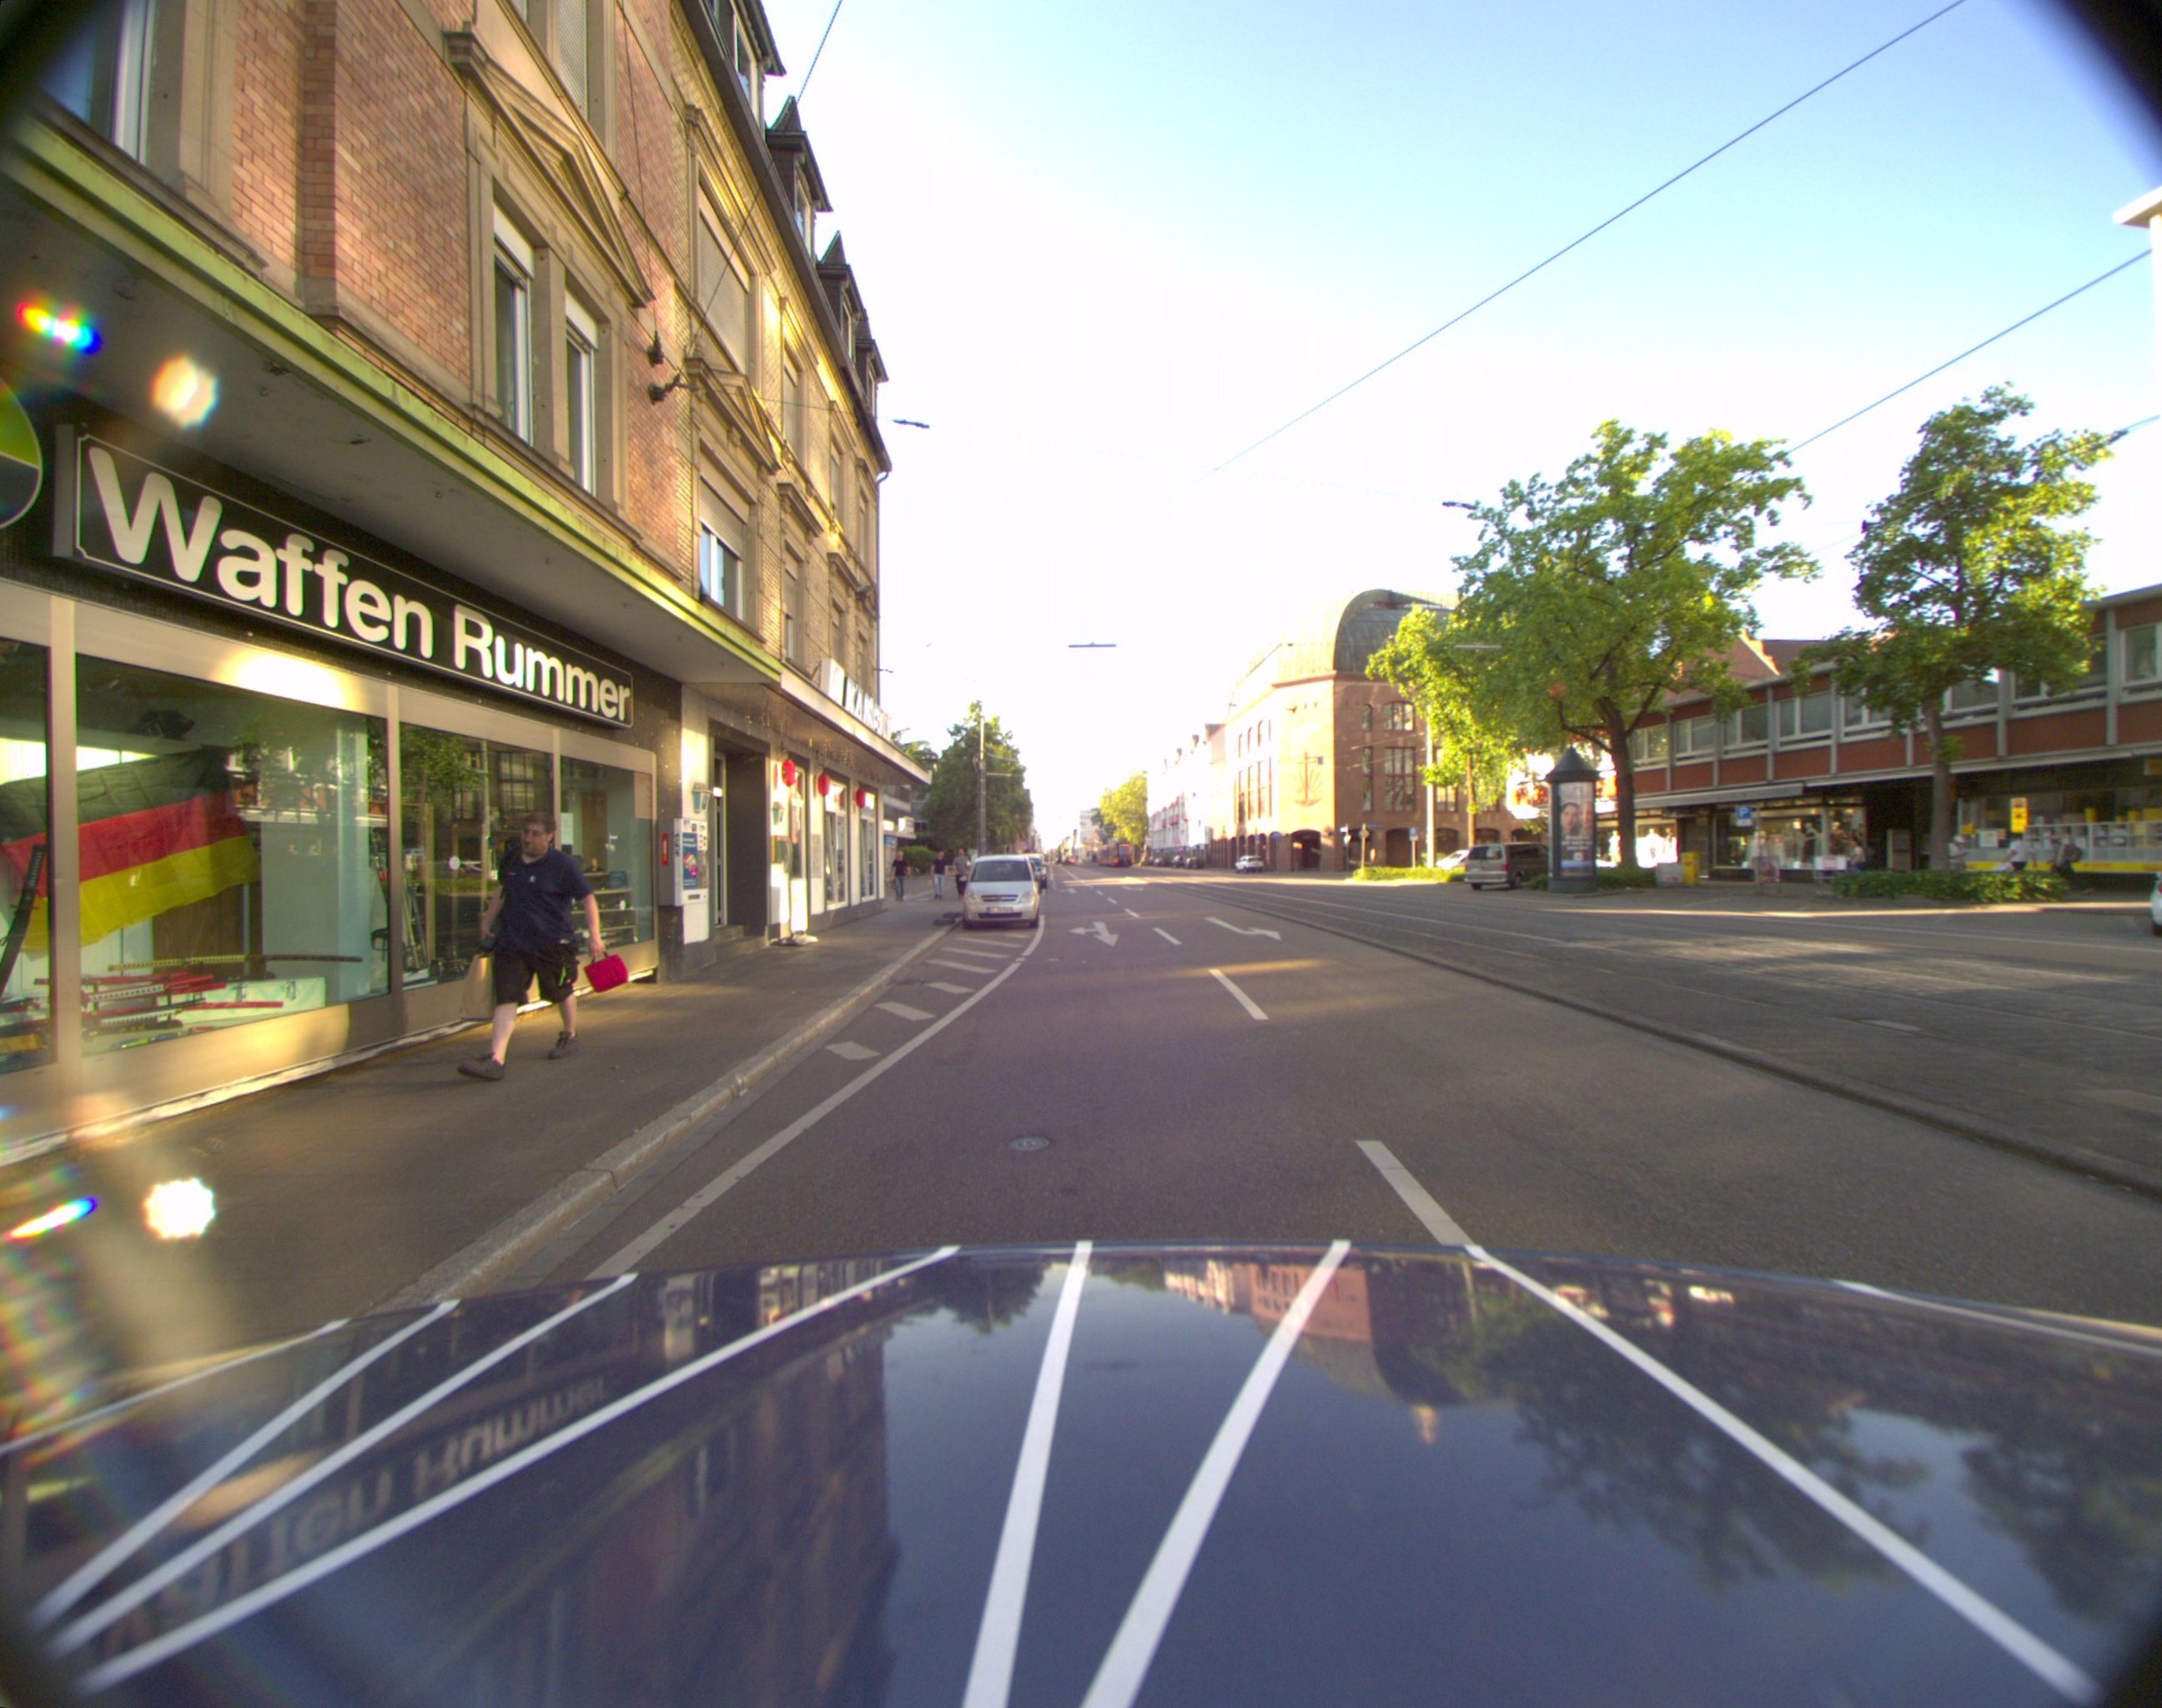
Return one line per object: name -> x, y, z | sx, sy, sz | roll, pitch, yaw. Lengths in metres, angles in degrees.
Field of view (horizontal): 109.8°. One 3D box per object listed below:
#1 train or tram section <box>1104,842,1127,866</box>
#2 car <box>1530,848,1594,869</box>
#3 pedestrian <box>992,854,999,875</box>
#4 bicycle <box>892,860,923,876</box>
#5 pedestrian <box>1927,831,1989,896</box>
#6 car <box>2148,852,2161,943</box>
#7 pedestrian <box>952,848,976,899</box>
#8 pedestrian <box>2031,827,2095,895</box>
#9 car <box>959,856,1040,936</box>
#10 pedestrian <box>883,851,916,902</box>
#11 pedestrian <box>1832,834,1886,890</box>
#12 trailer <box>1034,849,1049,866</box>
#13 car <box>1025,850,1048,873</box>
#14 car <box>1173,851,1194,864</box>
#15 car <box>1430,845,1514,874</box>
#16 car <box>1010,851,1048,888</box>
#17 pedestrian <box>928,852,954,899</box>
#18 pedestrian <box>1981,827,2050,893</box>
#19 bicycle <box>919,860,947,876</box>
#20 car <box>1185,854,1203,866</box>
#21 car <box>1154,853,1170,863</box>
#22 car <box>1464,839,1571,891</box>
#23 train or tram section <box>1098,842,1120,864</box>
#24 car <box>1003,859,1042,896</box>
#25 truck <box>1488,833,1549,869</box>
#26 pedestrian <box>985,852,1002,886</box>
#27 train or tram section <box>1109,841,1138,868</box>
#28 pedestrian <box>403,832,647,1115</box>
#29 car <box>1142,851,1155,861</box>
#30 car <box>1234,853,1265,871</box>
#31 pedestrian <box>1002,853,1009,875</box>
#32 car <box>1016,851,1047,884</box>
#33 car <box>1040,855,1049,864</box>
train or tram section -> 5.236, -0.055, 117.598 | 2.683, 3.530, 11.123 | 0, 0, -3
car -> 38.055, 0.357, 60.268 | 1.856, 1.564, 4.528 | -1, 0, -7
pedestrian -> -6.867, 0.834, 61.068 | 0.494, 1.703, 0.437 | 2, 1, -3
bicycle -> -11.916, 0.959, 52.226 | 2.020, 1.089, 0.637 | 1, 0, -9
pedestrian -> 25.856, 0.286, 22.427 | 0.917, 1.867, 0.902 | 0, 1, 26
car -> 20.683, 0.732, 13.538 | 4.276, 1.421, 1.762 | -3, 1, -33
pedestrian -> -4.426, 0.726, 28.734 | 0.796, 1.888, 1.032 | 0, 1, -3
pedestrian -> 27.522, 0.183, 21.301 | 0.920, 1.867, 0.898 | -1, 1, -24
car -> -1.820, 0.879, 17.779 | 1.642, 1.605, 3.943 | -1, 0, -4
pedestrian -> -6.301, 0.775, 26.423 | 0.903, 1.703, 1.032 | 2, 0, -3
pedestrian -> 26.532, 0.256, 25.925 | 0.919, 1.867, 0.900 | -1, 1, -5
trailer -> -5.370, 0.453, 103.385 | 1.784, 2.136, 5.315 | -2, 0, 0
car -> -4.029, 0.636, 69.440 | 1.882, 2.009, 4.904 | -2, 0, -2
car -> 13.994, 0.500, 103.721 | 1.964, 1.690, 4.559 | -2, 0, -4
car -> 28.556, 0.403, 55.585 | 4.993, 1.957, 2.130 | -1, 3, -4
car -> -2.668, 0.785, 40.080 | 1.825, 1.747, 4.473 | -2, 1, -3
pedestrian -> -5.201, 0.784, 28.284 | 0.813, 1.746, 1.032 | 0, 1, -3
pedestrian -> 28.153, 0.170, 22.902 | 0.996, 1.937, 0.900 | -1, 1, -5
bicycle -> -10.383, 0.983, 53.266 | 1.886, 1.090, 0.469 | 0, 1, -4
car -> 14.428, 0.745, 96.889 | 1.646, 1.392, 3.682 | -2, 0, -2
car -> 13.073, 0.598, 122.795 | 1.829, 1.500, 4.559 | -2, 0, -2
car -> 18.636, 0.431, 32.380 | 5.130, 1.918, 1.849 | -3, 2, -34
train or tram section -> 4.710, -0.150, 129.369 | 2.766, 3.530, 12.463 | 0, 0, -3
car -> -2.647, 1.038, 34.718 | 1.642, 1.484, 3.793 | -3, 0, -4
truck -> 34.486, -0.231, 60.017 | 1.856, 2.747, 4.528 | -1, 0, -7
pedestrian -> -4.545, 0.761, 39.358 | 0.789, 1.728, 0.945 | -1, 1, -3
train or tram section -> 5.766, 0.024, 105.670 | 2.683, 3.530, 12.837 | 0, 0, -3
pedestrian -> -3.816, 0.758, 5.335 | 0.949, 1.782, 1.054 | 0, 1, -3
car -> 12.285, 0.425, 138.710 | 1.931, 1.787, 4.383 | -1, 0, 1
car -> 15.552, 0.705, 70.293 | 1.600, 1.581, 4.276 | -3, 0, -4
pedestrian -> -6.086, 0.815, 61.010 | 0.494, 1.703, 0.437 | 2, 1, -3
car -> -2.894, 0.763, 44.778 | 1.680, 1.797, 4.247 | -2, 0, -3
car -> -5.882, 0.838, 123.851 | 1.420, 1.425, 3.871 | -2, 0, -3
